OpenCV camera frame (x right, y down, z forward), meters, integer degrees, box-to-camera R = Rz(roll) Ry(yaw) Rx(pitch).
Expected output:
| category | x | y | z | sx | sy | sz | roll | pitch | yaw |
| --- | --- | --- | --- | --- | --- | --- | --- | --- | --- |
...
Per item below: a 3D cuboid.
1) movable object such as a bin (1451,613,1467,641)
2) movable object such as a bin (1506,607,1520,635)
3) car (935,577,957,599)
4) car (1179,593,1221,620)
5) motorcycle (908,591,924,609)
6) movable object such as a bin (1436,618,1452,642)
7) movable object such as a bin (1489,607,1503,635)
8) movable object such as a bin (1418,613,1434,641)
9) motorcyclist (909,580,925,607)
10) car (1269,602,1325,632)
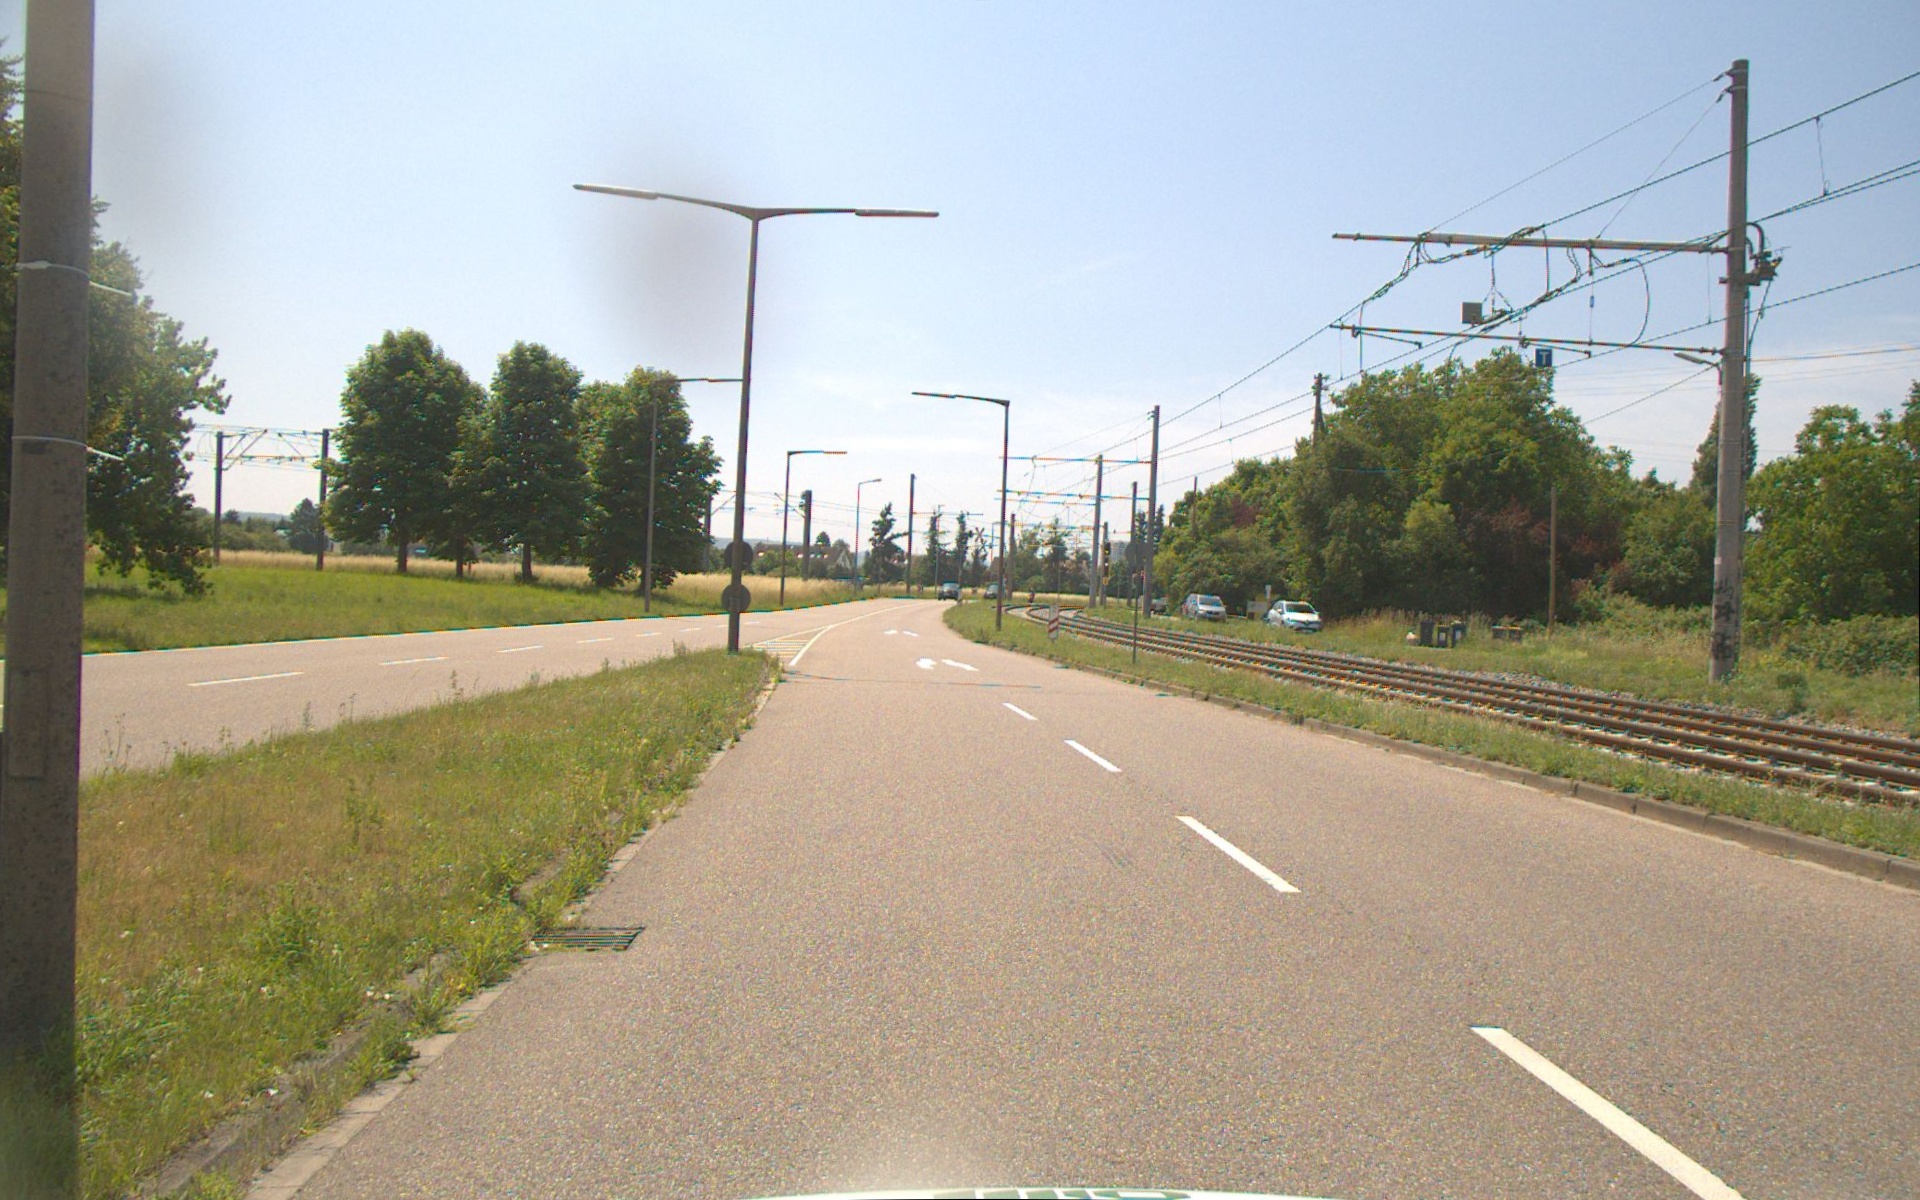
| category | x | y | z | sx | sy | sz | roll | pitch | yaw |
| --- | --- | --- | --- | --- | --- | --- | --- | --- | --- |
| movable object such as a bin | 19.498 | 1.061 | 64.658 | 0.513 | 1.068 | 0.500 | 2 | 0 | 8 |
| movable object such as a bin | 21.435 | 0.801 | 64.123 | 0.439 | 1.068 | 0.500 | 2 | 0 | 10 |
| car | -1.267 | -1.071 | 148.214 | 1.374 | 1.802 | 3.256 | 4 | 0 | 8 |
| car | 13.785 | 0.354 | 95.139 | 1.638 | 1.421 | 3.648 | 4 | 0 | -3 |
| motorcycle | -3.962 | 0.016 | 149.886 | 0.968 | 1.608 | 3.402 | 4 | 0 | 4 |
| movable object such as a bin | 18.956 | 1.172 | 64.802 | 0.513 | 0.879 | 0.500 | 2 | 0 | 8 |
| movable object such as a bin | 20.829 | 0.800 | 64.266 | 0.439 | 1.068 | 0.500 | 2 | 0 | 10 |
| movable object such as a bin | 18.297 | 1.072 | 64.914 | 0.513 | 1.068 | 0.500 | 2 | 0 | 8 |
| motorcyclist | -3.912 | -0.567 | 149.765 | 1.205 | 2.391 | 1.107 | 4 | -1 | 4 |
| car | 14.574 | 0.732 | 71.658 | 1.532 | 1.200 | 3.076 | 2 | 0 | -5 |
